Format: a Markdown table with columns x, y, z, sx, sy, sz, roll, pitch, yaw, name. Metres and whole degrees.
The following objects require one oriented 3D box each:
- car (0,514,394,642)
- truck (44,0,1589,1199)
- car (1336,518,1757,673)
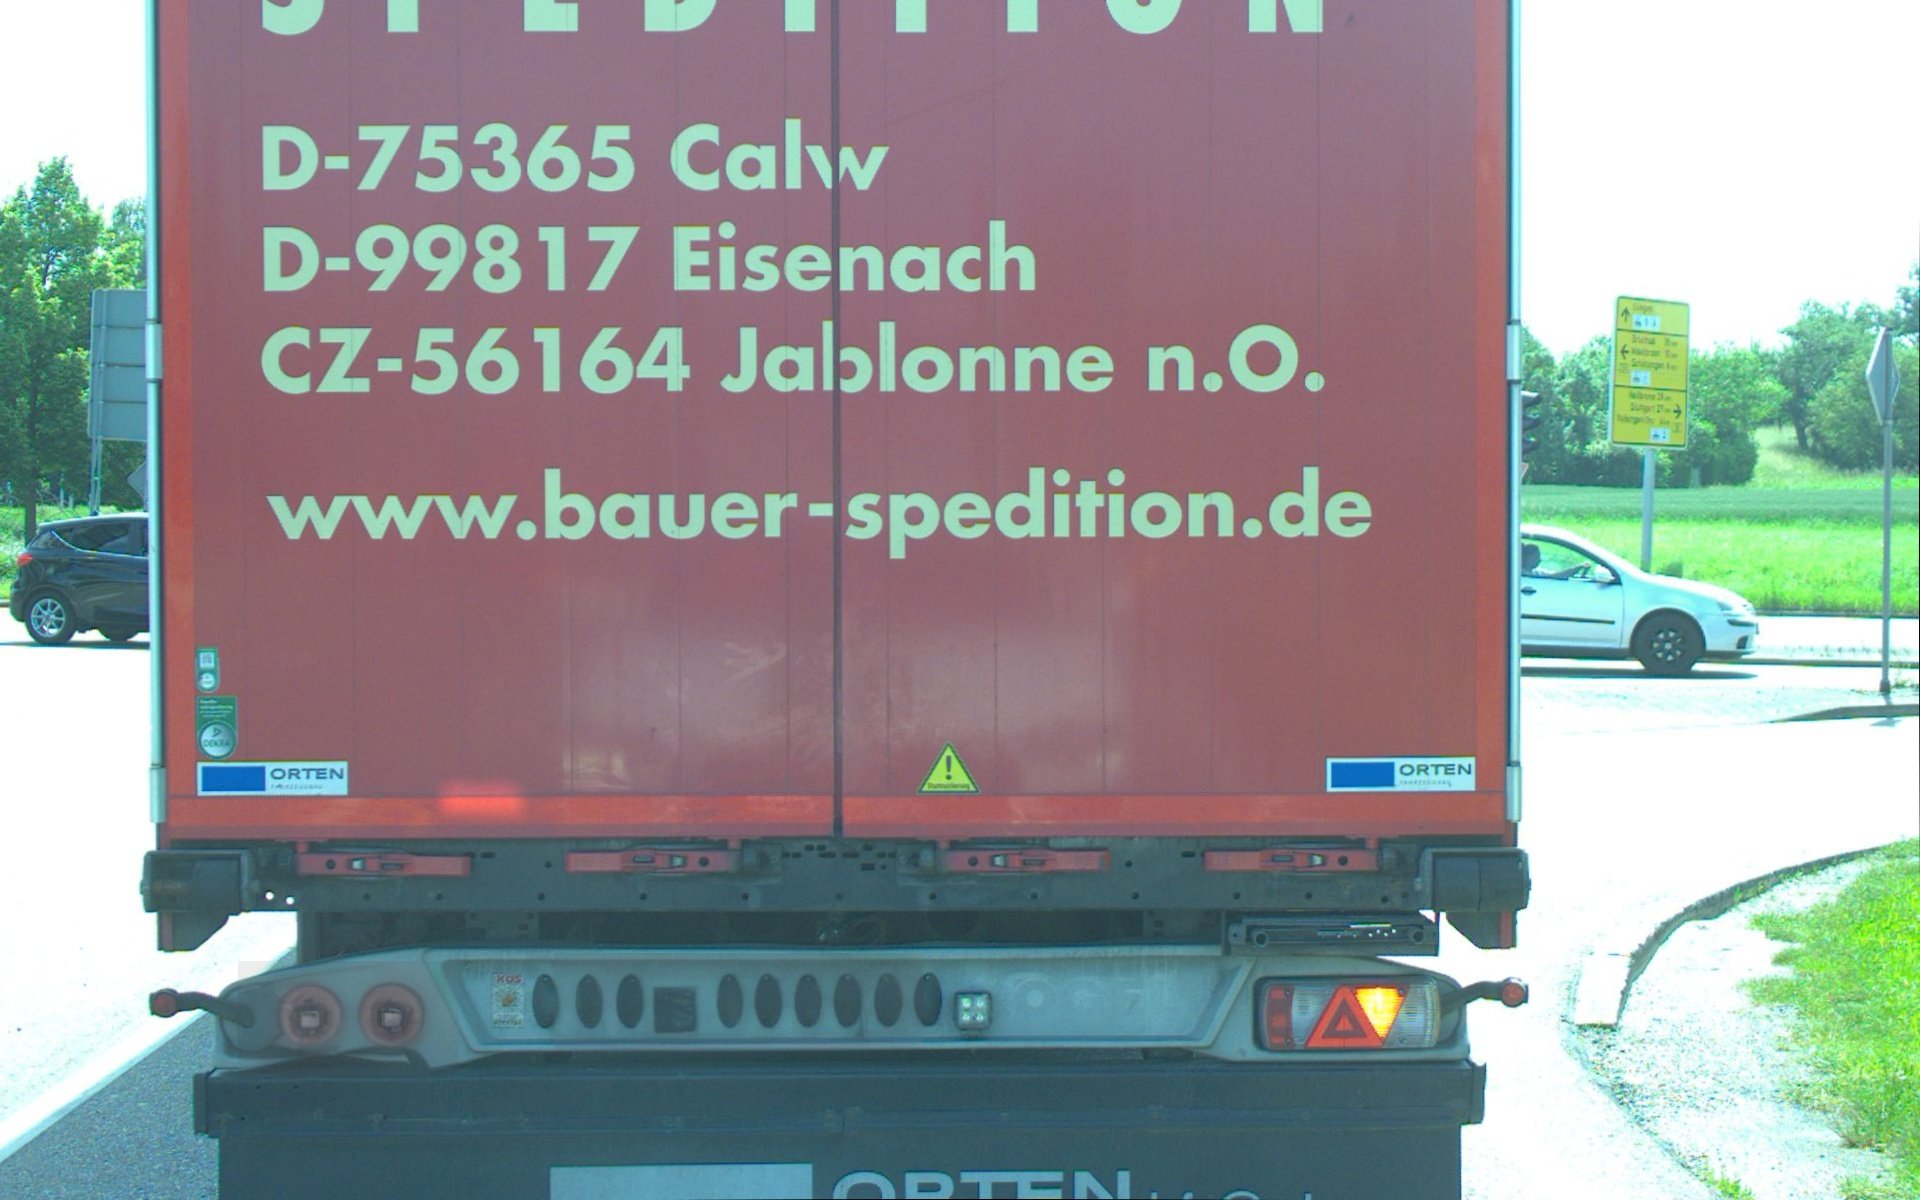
| x | y | z | sx | sy | sz | roll | pitch | yaw | name |
| --- | --- | --- | --- | --- | --- | --- | --- | --- | --- |
| -8.570 | -0.256 | 37.819 | 4.269 | 1.300 | 1.741 | 1 | 1 | 13 | car |
| -0.384 | -0.819 | 14.424 | 2.734 | 3.911 | 16.627 | 0 | 1 | -1 | truck |
| 5.898 | -0.075 | 34.534 | 4.037 | 1.412 | 1.794 | 1 | 2 | 12 | car |
